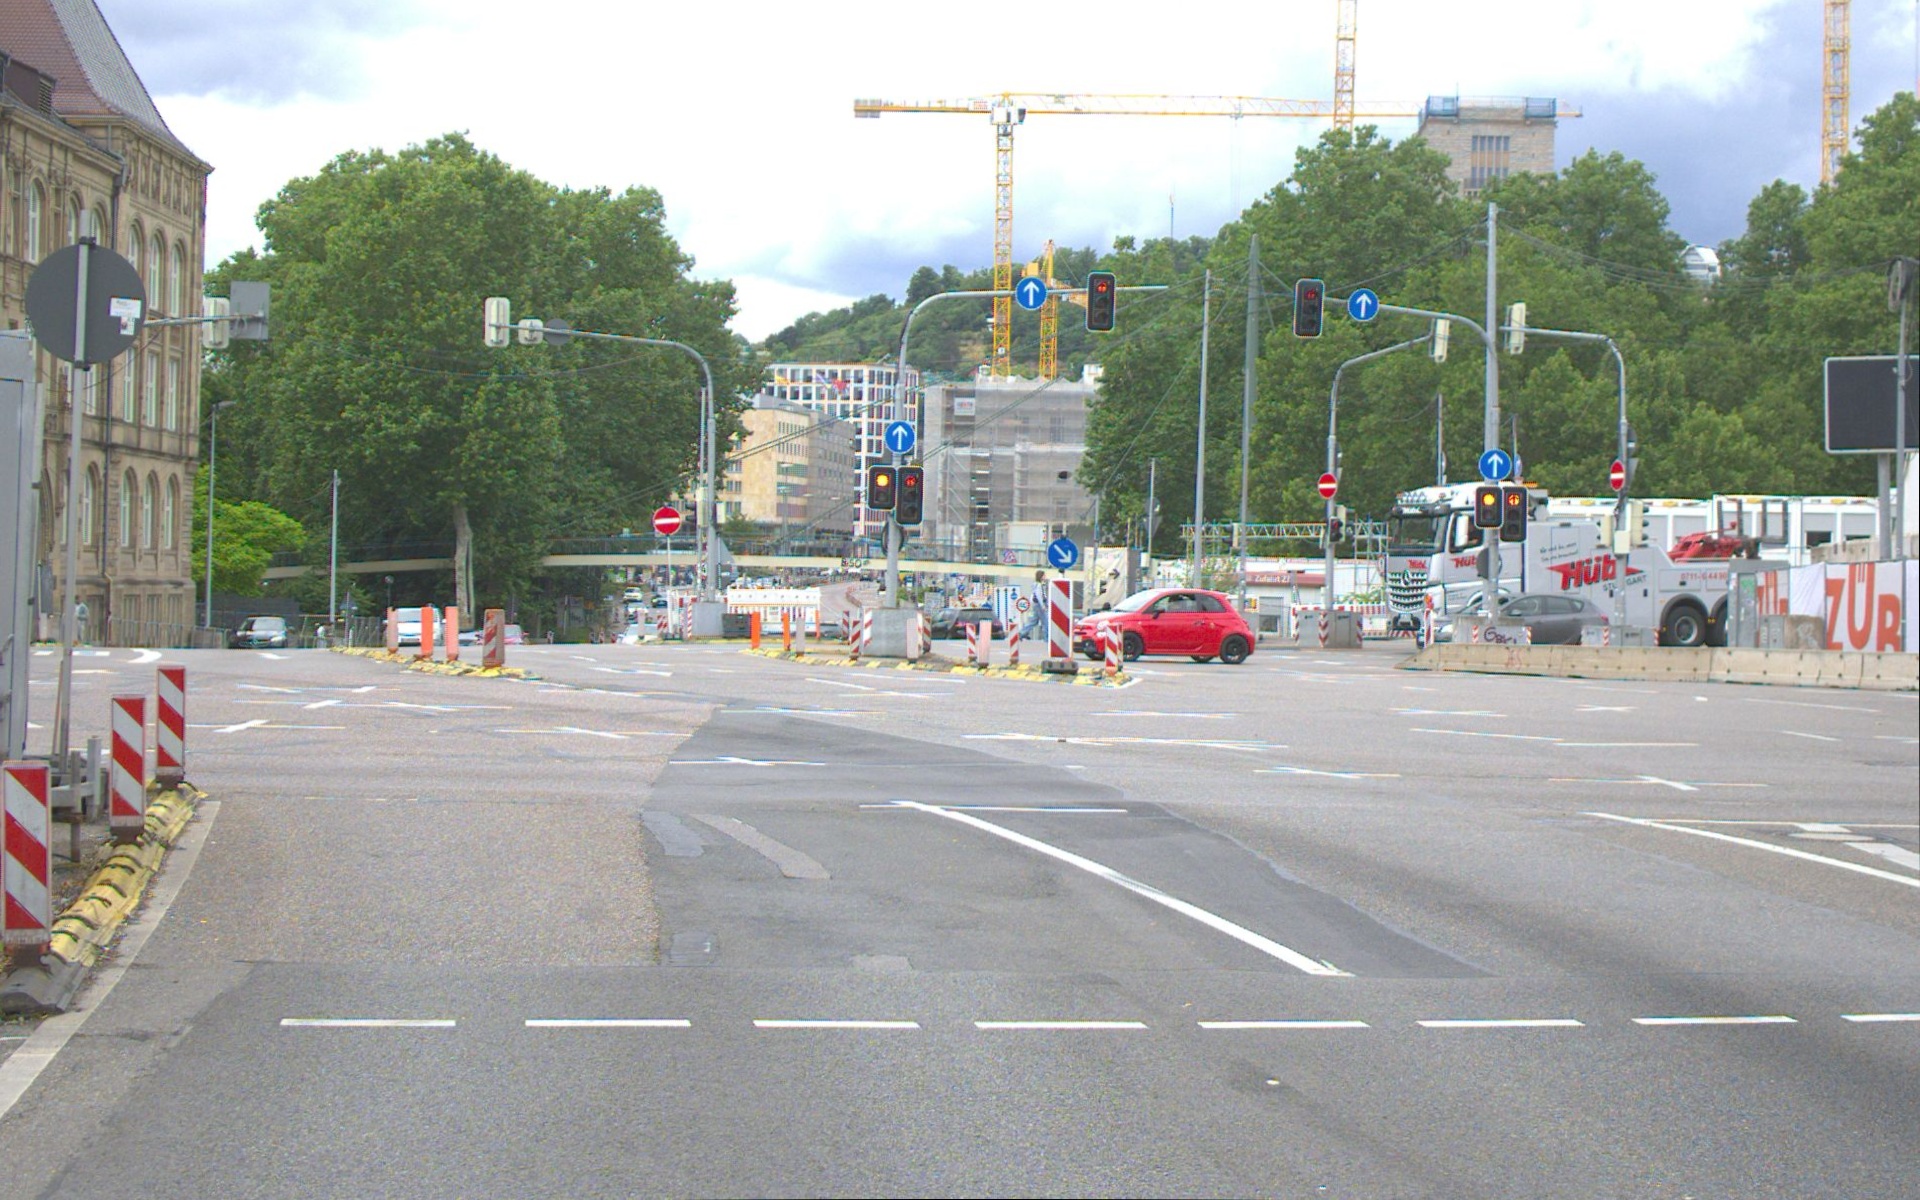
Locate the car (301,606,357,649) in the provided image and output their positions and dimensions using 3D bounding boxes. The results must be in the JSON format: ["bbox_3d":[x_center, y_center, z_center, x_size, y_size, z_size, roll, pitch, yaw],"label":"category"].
[{"bbox_3d":[-28.569,1.233,155.674,1.993,1.831,4.001,1,1,-3],"label":"car"}]

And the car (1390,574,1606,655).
[{"bbox_3d":[11.624,0.311,74.293,4.164,1.695,1.967,1,1,-19],"label":"car"}]

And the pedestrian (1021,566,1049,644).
[{"bbox_3d":[1.789,0.116,82.207,0.585,1.834,0.604,1,0,-4],"label":"pedestrian"}]

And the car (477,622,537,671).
[{"bbox_3d":[-17.702,1.804,134.404,1.993,1.831,4.001,1,1,-3],"label":"car"}]

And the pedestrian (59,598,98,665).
[{"bbox_3d":[-26.585,0.948,103.697,0.950,2.007,0.766,1,0,2],"label":"pedestrian"}]

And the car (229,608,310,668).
[{"bbox_3d":[-22.413,1.223,111.655,1.993,1.831,4.001,1,1,-3],"label":"car"}]

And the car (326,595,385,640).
[{"bbox_3d":[-25.714,0.731,146.293,1.993,1.831,4.001,1,1,-3],"label":"car"}]

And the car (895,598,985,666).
[{"bbox_3d":[-0.644,0.985,106.660,1.993,2.007,4.001,1,1,-12],"label":"car"}]

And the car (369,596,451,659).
[{"bbox_3d":[-16.577,0.812,103.769,1.993,1.831,4.001,1,1,-3],"label":"car"}]

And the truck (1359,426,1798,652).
[{"bbox_3d":[14.222,-1.341,78.895,9.712,4.943,3.114,1,0,-23],"label":"truck"}]

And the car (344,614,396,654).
[{"bbox_3d":[-28.572,1.639,166.533,1.993,1.831,4.001,1,1,-3],"label":"car"}]

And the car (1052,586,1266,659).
[{"bbox_3d":[3.929,0.442,68.035,3.806,1.381,1.805,1,1,-22],"label":"car"}]
